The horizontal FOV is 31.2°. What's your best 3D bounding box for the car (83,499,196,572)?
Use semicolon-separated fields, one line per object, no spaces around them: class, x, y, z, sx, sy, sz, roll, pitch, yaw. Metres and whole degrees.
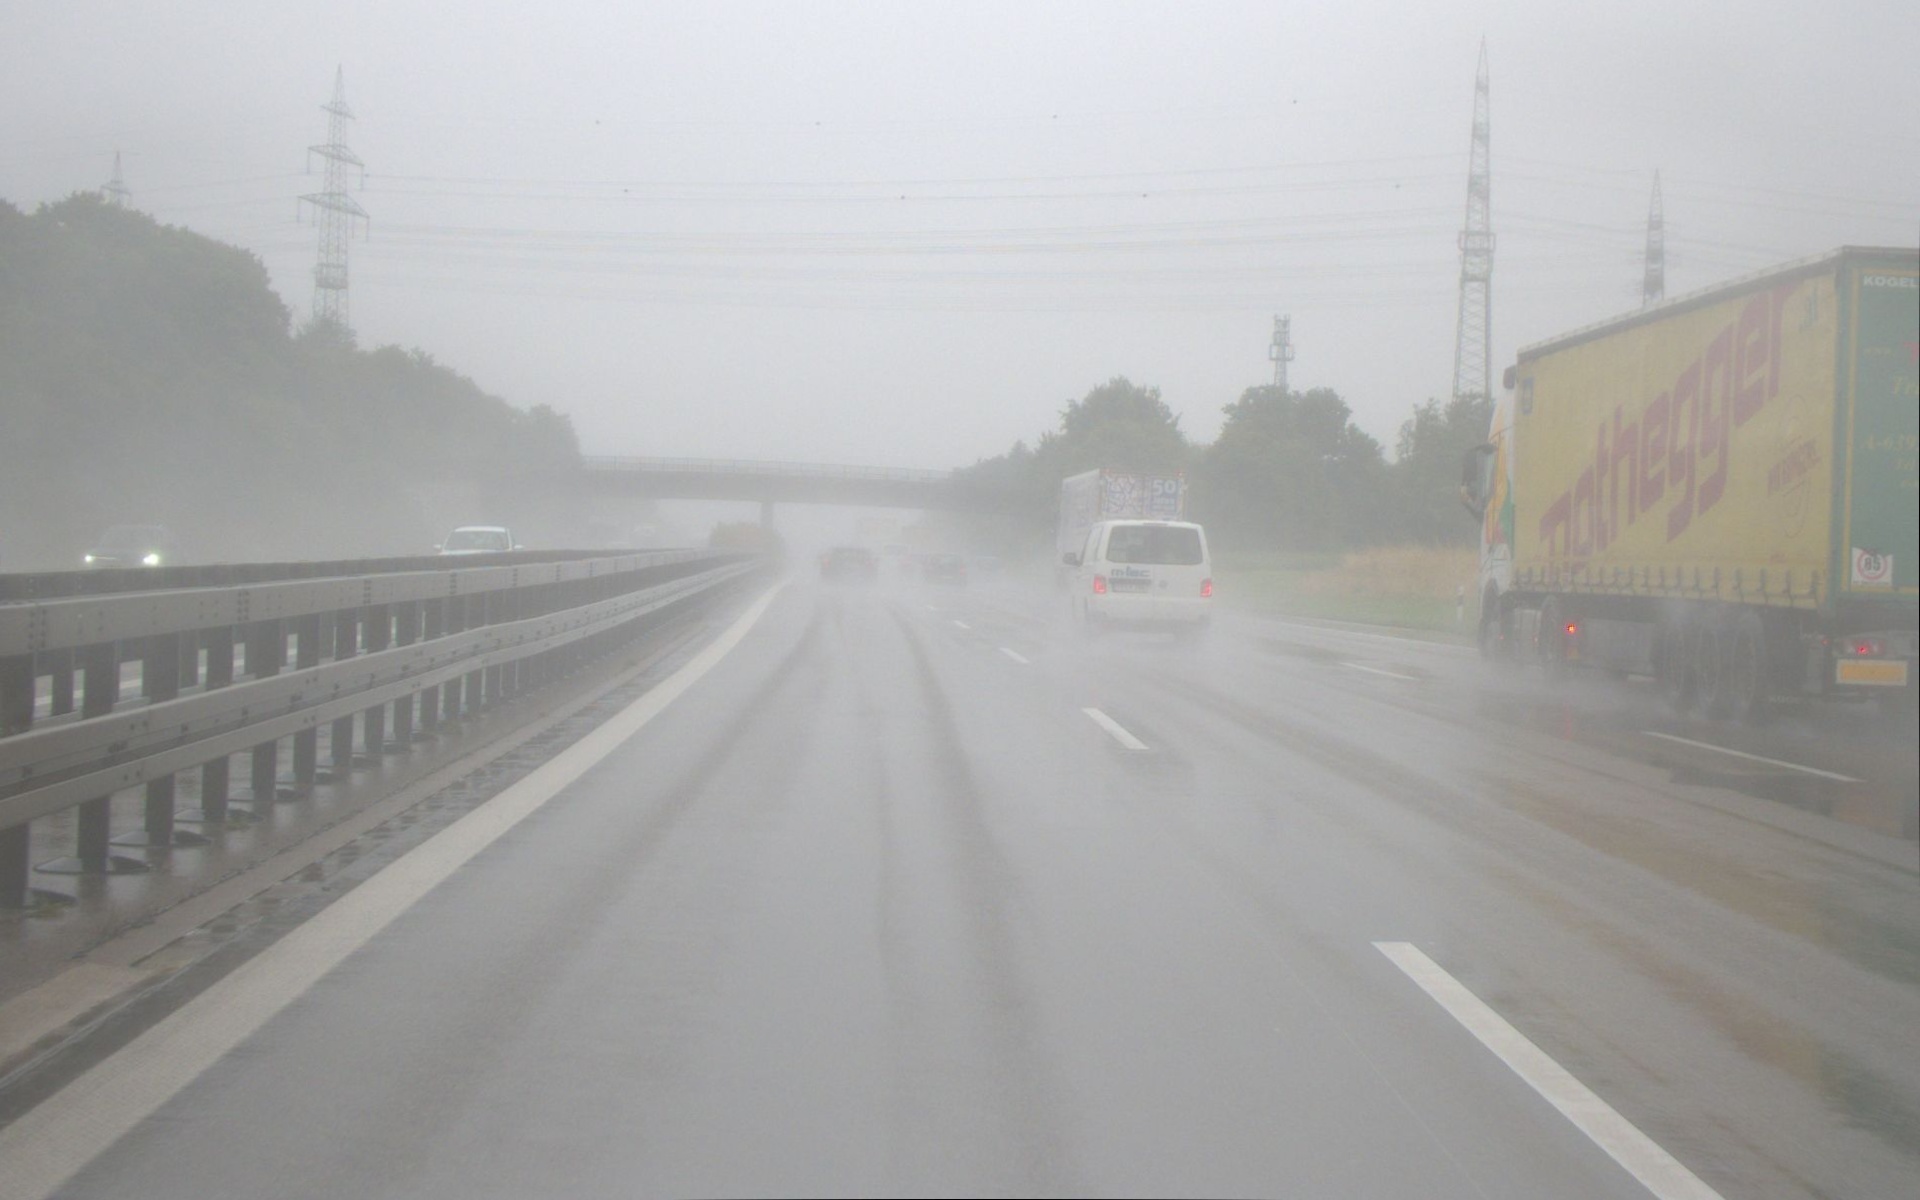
car;-19.170;-1.528;80.447;1.623;1.568;4.001;1;3;1

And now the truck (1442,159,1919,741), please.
truck;8.217;-1.348;35.388;4.189;4.614;16.106;1;1;0

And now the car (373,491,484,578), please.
car;-12.804;-1.574;82.969;1.993;2.007;4.000;1;1;1

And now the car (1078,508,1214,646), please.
car;2.855;-0.396;52.895;1.994;2.006;4.000;1;2;3

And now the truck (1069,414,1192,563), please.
truck;5.067;-3.367;103.890;3.232;4.296;8.838;0;2;0
